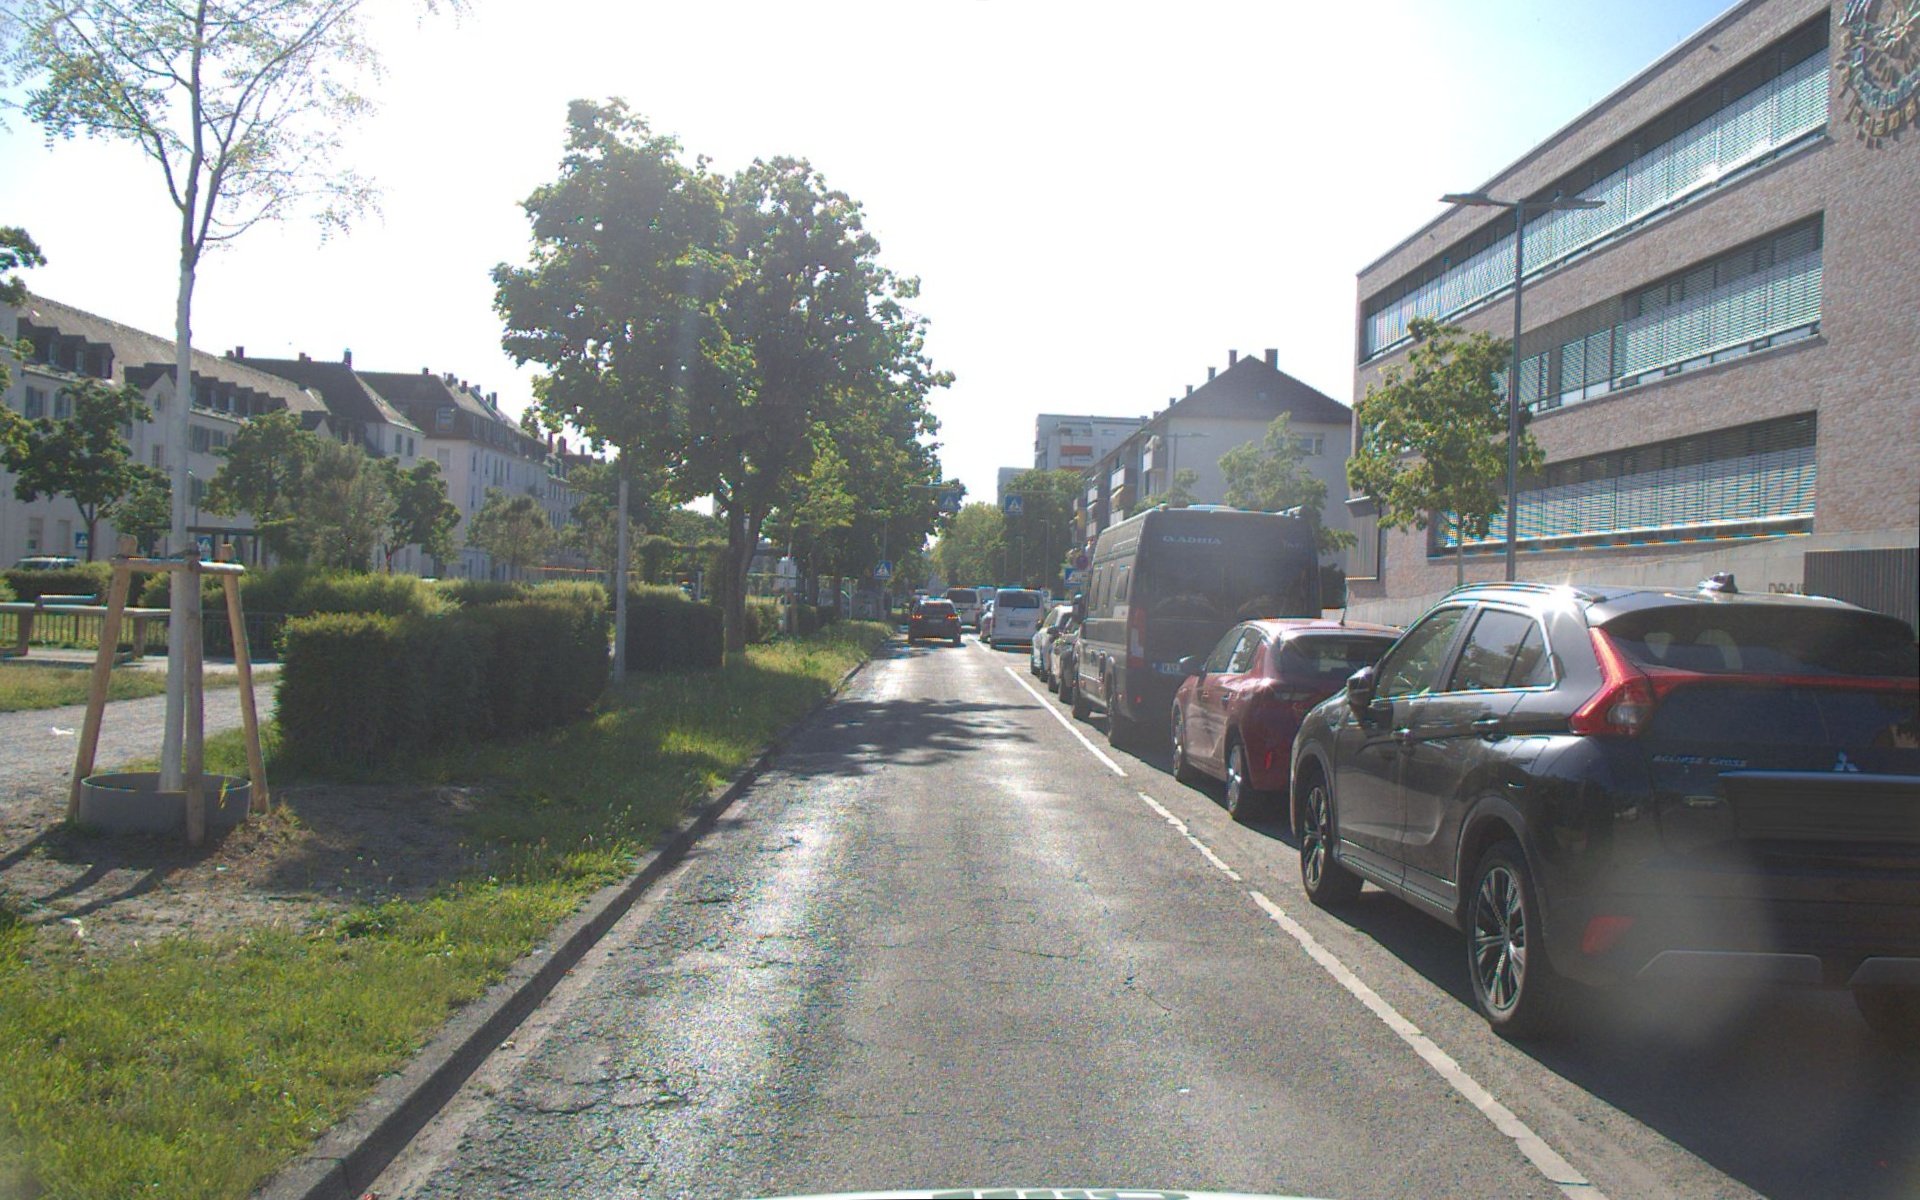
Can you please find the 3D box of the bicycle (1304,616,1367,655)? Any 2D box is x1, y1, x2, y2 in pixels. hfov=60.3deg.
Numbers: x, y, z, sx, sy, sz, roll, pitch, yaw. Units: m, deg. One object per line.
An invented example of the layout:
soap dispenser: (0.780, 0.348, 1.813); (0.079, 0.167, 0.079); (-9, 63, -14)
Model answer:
bicycle: (11.293, 1.062, 49.752); (1.758, 1.127, 0.500); (0, 0, -4)

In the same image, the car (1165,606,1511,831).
car: (2.847, 0.822, 13.354); (1.758, 1.480, 3.948); (2, 0, -2)

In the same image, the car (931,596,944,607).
car: (-3.302, 0.209, 242.490); (1.758, 1.537, 3.999); (1, 0, -1)

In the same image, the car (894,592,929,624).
car: (-2.626, 0.420, 90.625); (1.758, 1.652, 3.999); (2, 0, -1)

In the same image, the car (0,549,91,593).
car: (-37.843, -1.170, 68.384); (1.758, 1.680, 3.999); (2, 0, -2)

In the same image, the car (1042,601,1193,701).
car: (2.484, 0.767, 27.179); (1.953, 1.445, 4.635); (2, 0, -1)

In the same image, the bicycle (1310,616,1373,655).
bicycle: (11.365, 1.064, 49.232); (1.758, 1.127, 0.500); (0, 0, -4)

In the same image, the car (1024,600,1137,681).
car: (2.324, 0.757, 32.957); (1.758, 1.445, 4.656); (2, 0, -2)

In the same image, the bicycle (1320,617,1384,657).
bicycle: (11.394, 1.070, 48.090); (1.758, 1.127, 0.500); (0, 0, -4)

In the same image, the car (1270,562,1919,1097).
car: (2.822, 0.739, 7.510); (1.809, 1.669, 4.502); (2, 0, -2)

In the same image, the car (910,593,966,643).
car: (-0.735, 0.579, 55.683); (1.758, 1.536, 3.999); (2, 0, -1)

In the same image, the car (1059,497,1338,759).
car: (2.589, 0.280, 19.812); (2.073, 2.559, 6.528); (2, 0, -3)

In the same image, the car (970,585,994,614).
car: (2.001, -0.080, 151.500); (1.953, 2.472, 4.499); (4, 0, -1)

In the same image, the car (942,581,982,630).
car: (0.084, 0.254, 78.146); (1.758, 2.159, 3.999); (2, 0, -1)

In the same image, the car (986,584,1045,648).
car: (1.739, 0.486, 53.179); (1.757, 1.887, 4.413); (2, 0, 1)

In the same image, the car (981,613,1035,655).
car: (1.682, 1.203, 59.386); (1.729, 1.342, 4.167); (3, -1, -1)
